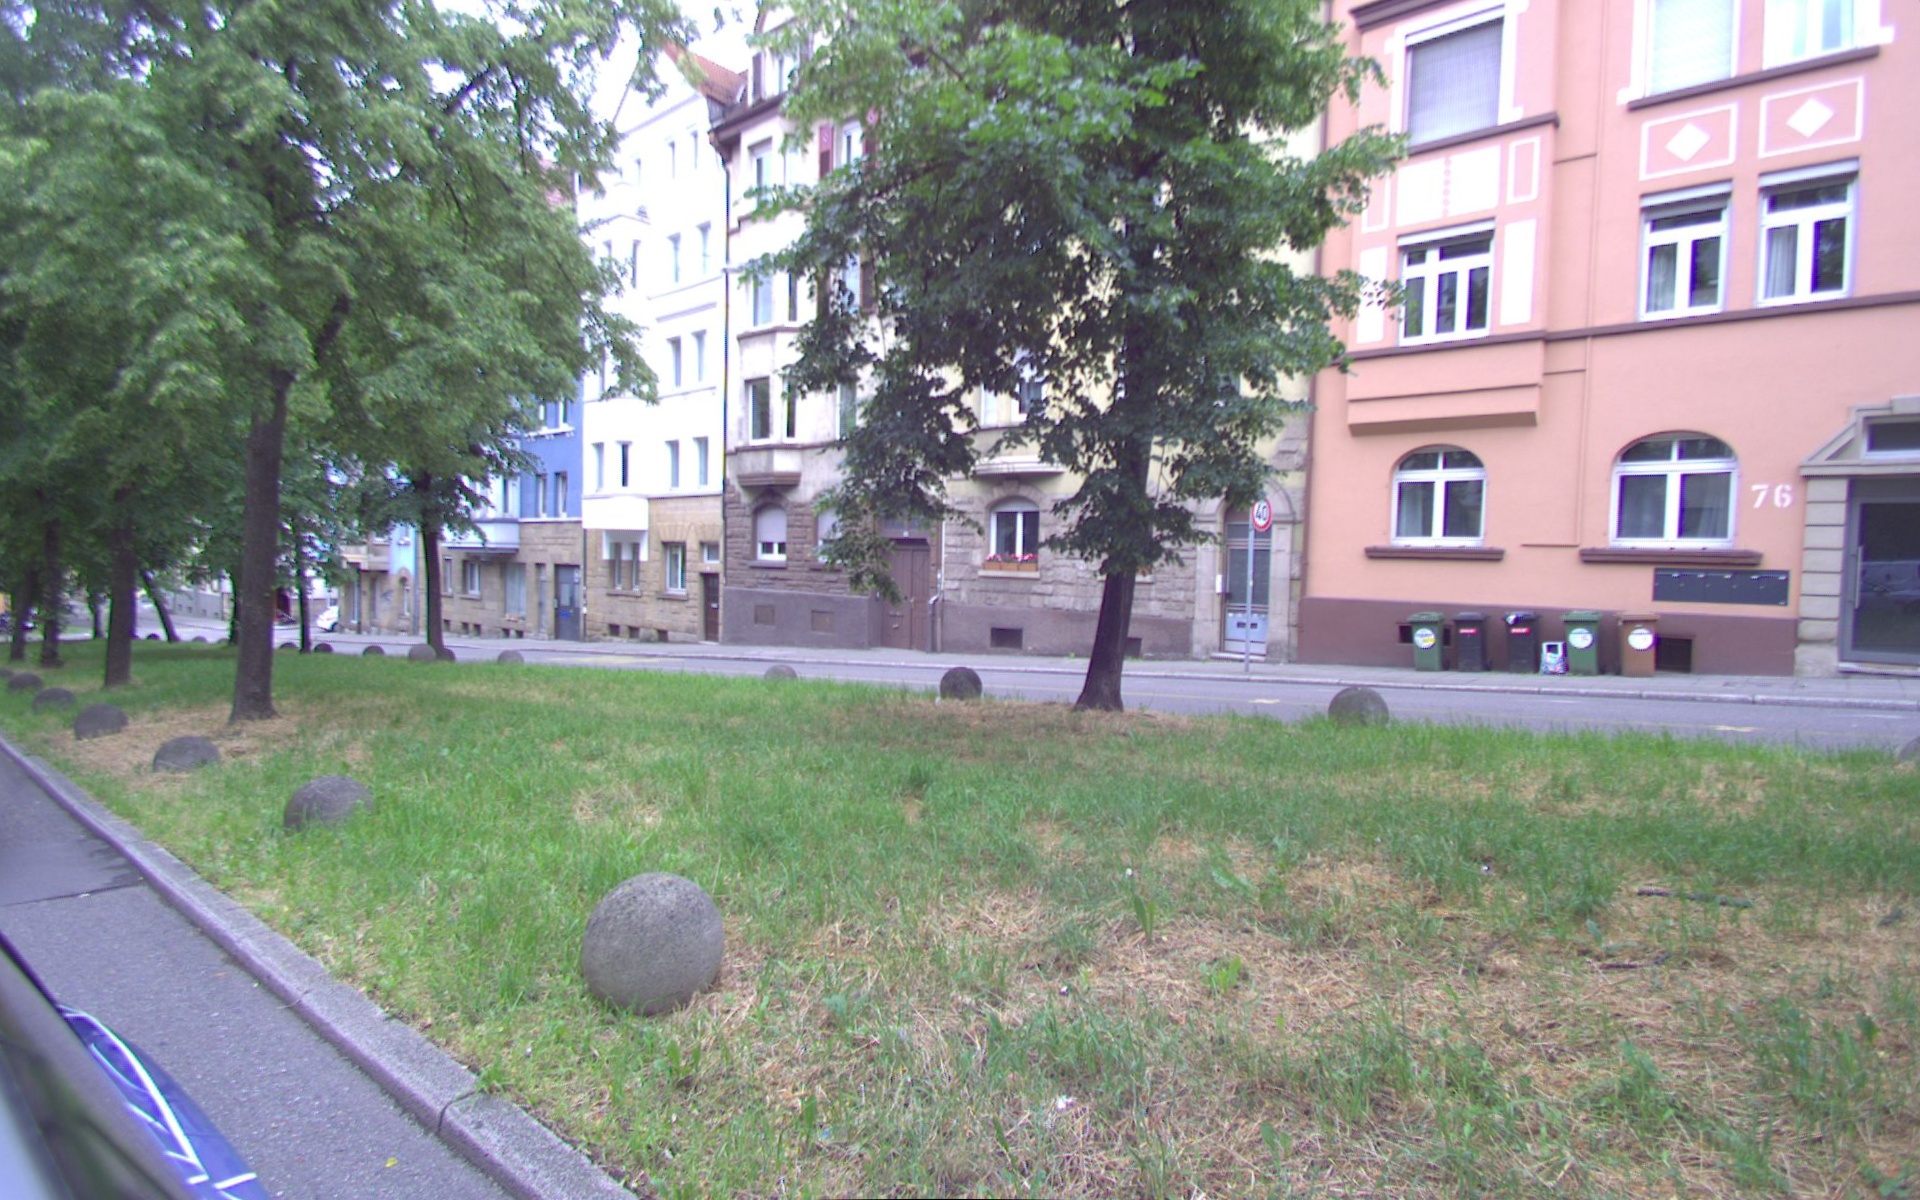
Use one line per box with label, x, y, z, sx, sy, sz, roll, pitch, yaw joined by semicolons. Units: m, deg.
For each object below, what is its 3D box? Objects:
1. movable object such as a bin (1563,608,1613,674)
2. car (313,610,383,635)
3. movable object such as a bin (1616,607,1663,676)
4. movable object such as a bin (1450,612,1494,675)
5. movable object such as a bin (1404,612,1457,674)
movable object such as a bin;9.156;0.581;14.756;0.558;0.928;0.648;-1;0;36
car;-35.355;1.301;58.493;3.244;1.341;1.674;-1;0;-40
movable object such as a bin;9.641;0.575;14.344;0.514;0.928;0.750;-1;0;36
movable object such as a bin;8.001;0.665;15.811;0.531;0.953;0.575;-1;0;35
movable object such as a bin;7.528;0.671;16.184;0.617;0.955;0.610;-1;0;40
